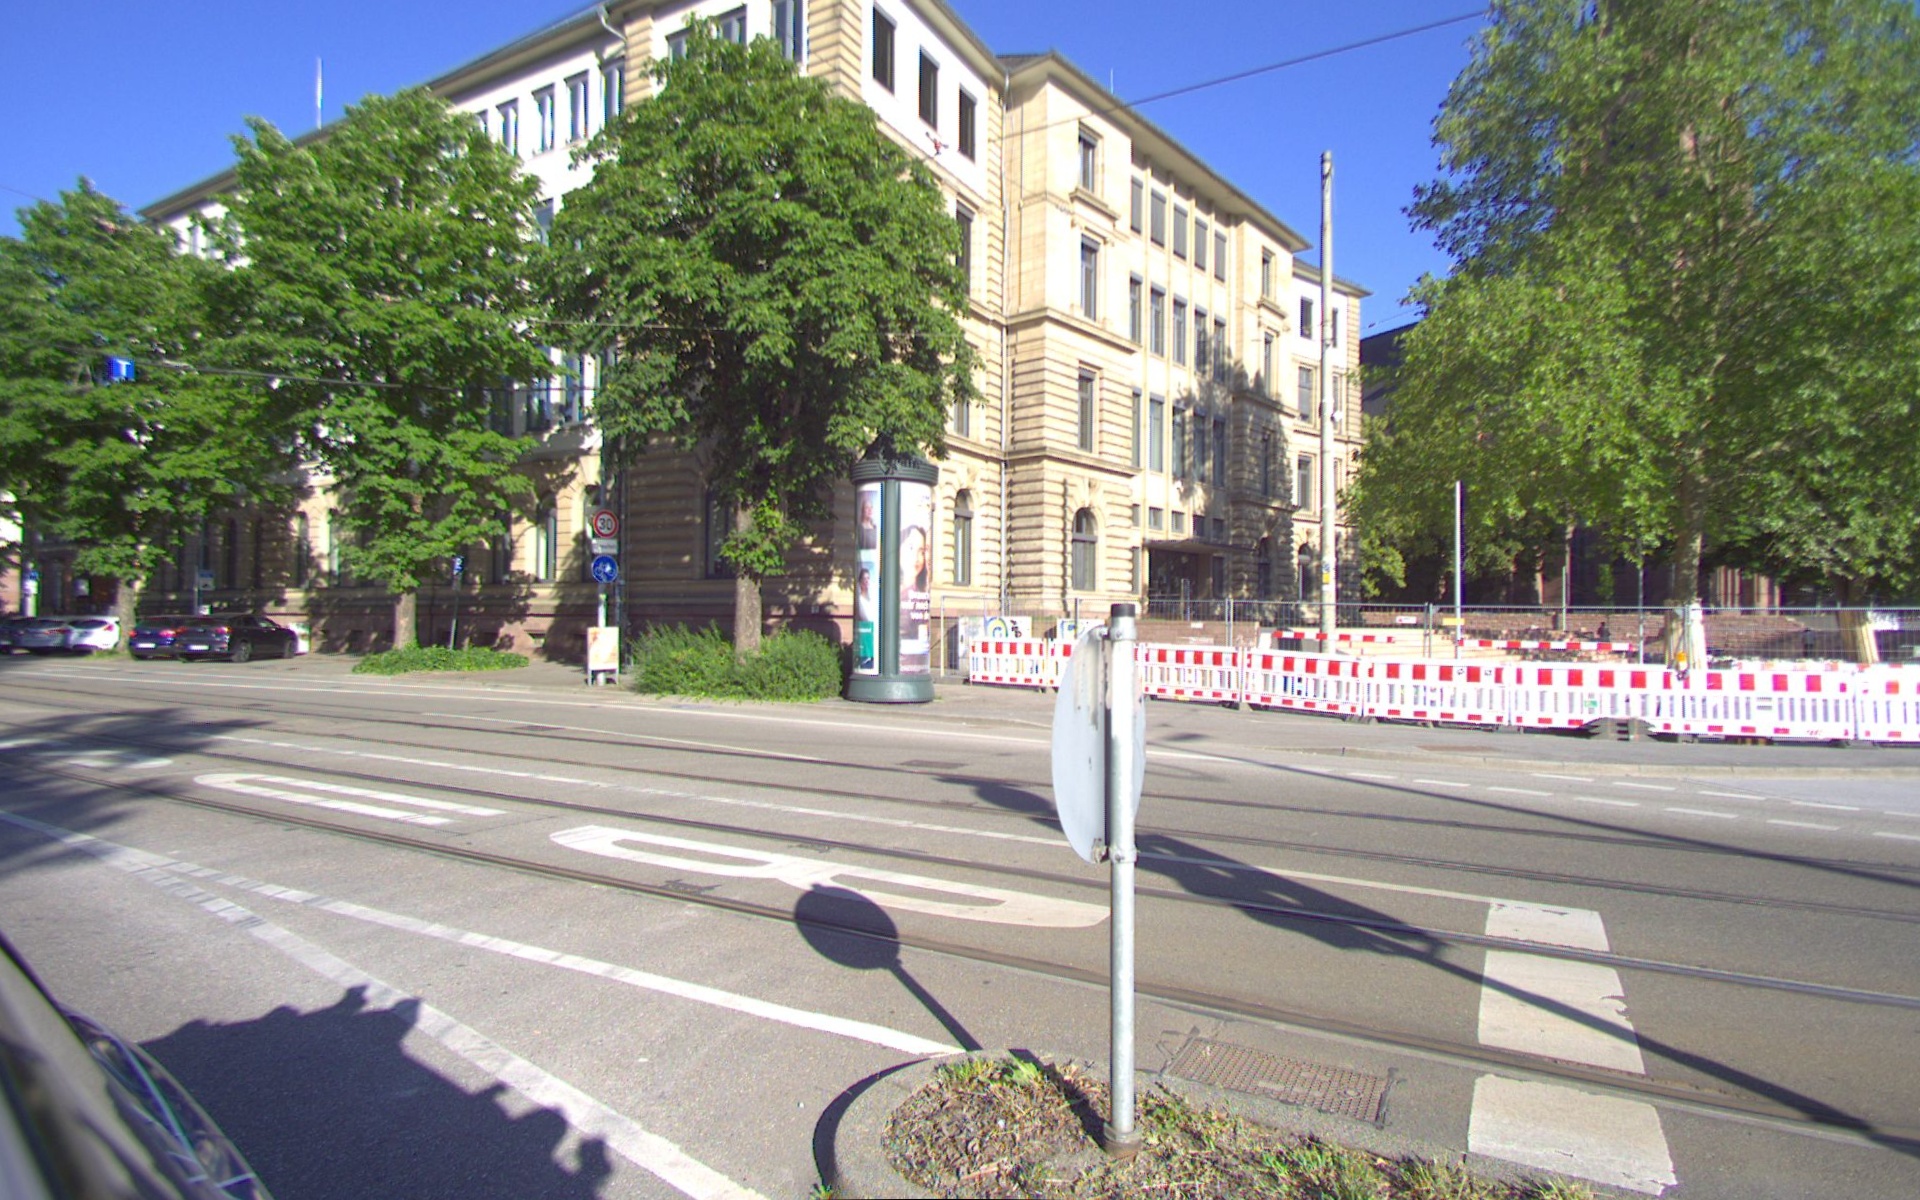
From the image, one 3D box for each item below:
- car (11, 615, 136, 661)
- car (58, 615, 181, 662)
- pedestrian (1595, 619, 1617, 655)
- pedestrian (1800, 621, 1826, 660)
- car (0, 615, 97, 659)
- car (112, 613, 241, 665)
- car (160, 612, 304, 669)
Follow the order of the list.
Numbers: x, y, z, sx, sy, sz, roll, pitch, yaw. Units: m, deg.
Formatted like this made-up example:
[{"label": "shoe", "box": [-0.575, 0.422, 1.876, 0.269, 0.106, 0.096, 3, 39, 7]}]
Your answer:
[{"label": "car", "box": [-33.224, 1.392, 38.063, 1.626, 1.572, 3.652, -1, 0, -3]}, {"label": "car", "box": [-30.912, 1.374, 37.352, 1.626, 1.572, 3.652, -1, 0, -3]}, {"label": "pedestrian", "box": [30.512, 1.727, 47.787, 0.627, 1.660, 0.677, 1, -2, -37]}, {"label": "pedestrian", "box": [36.869, 1.725, 43.750, 0.666, 1.660, 0.762, 1, -2, -45]}, {"label": "car", "box": [-36.240, 1.414, 39.772, 1.626, 1.572, 3.652, -1, 0, -3]}, {"label": "car", "box": [-26.241, 1.271, 34.035, 1.626, 1.572, 3.652, -1, 0, -3]}, {"label": "car", "box": [-23.611, 1.261, 33.033, 1.819, 1.643, 4.184, -1, 0, -3]}]
